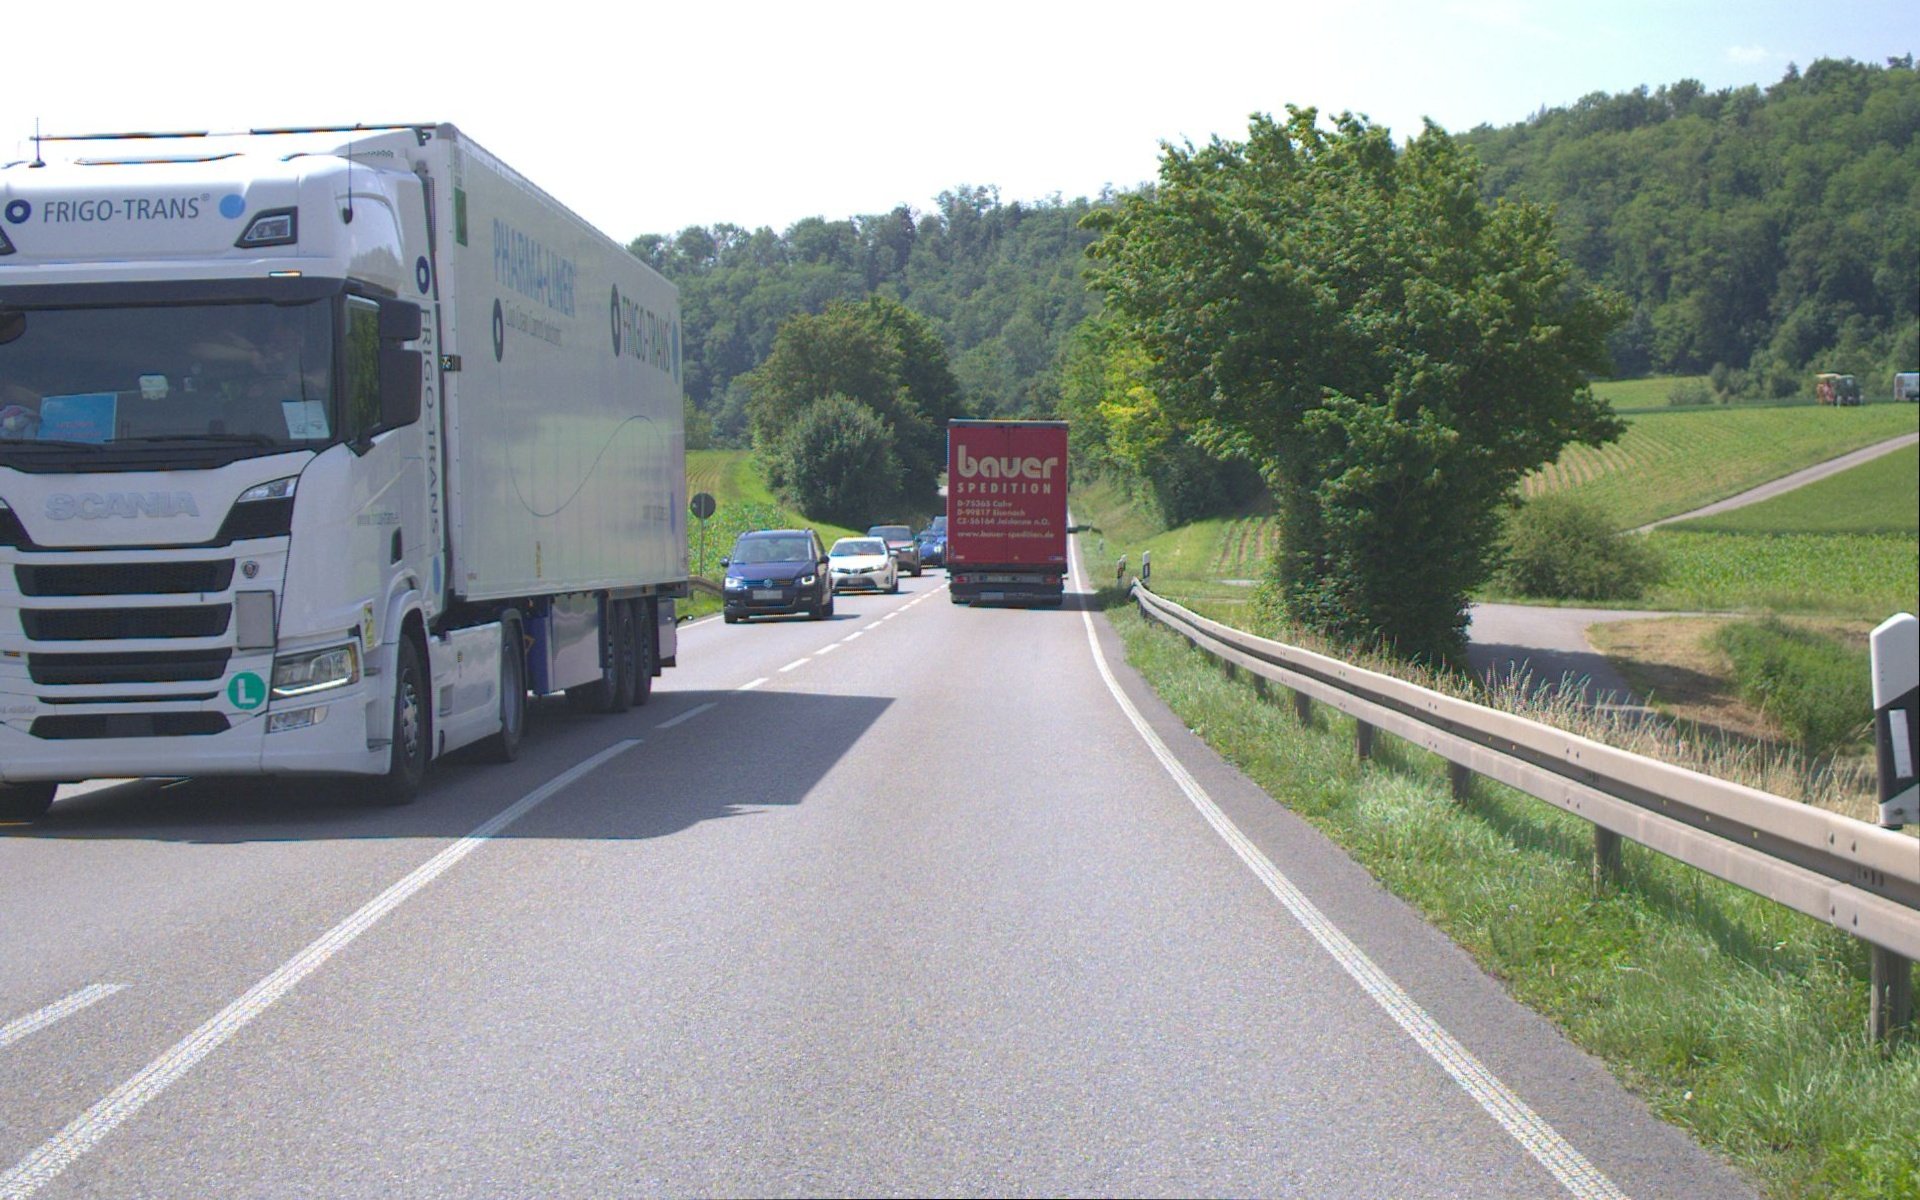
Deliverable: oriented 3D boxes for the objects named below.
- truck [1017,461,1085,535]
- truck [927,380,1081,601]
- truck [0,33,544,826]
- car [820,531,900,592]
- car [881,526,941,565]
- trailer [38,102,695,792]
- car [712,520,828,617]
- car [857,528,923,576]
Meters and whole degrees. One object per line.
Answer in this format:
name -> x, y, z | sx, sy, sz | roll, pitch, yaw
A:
truck -> 5.686, -6.339, 216.448 | 3.905, 4.354, 13.293 | 3, 1, 1
truck -> 1.044, -2.482, 78.882 | 3.172, 4.609, 13.544 | 1, 1, 1
truck -> -4.291, -0.934, 21.037 | 2.530, 4.105, 6.021 | -1, 1, 1
car -> -2.515, -0.984, 87.008 | 1.731, 1.429, 3.916 | -2, 1, 2
car -> -1.791, -2.019, 126.552 | 1.993, 1.337, 4.000 | -1, 2, 2
trailer -> -4.122, -1.035, 27.721 | 2.507, 4.105, 13.898 | -1, 1, 1
car -> -3.549, -0.620, 64.923 | 1.829, 1.716, 4.363 | -2, 1, 1
car -> -2.256, -1.573, 111.208 | 1.913, 1.469, 3.874 | -1, 1, 2
